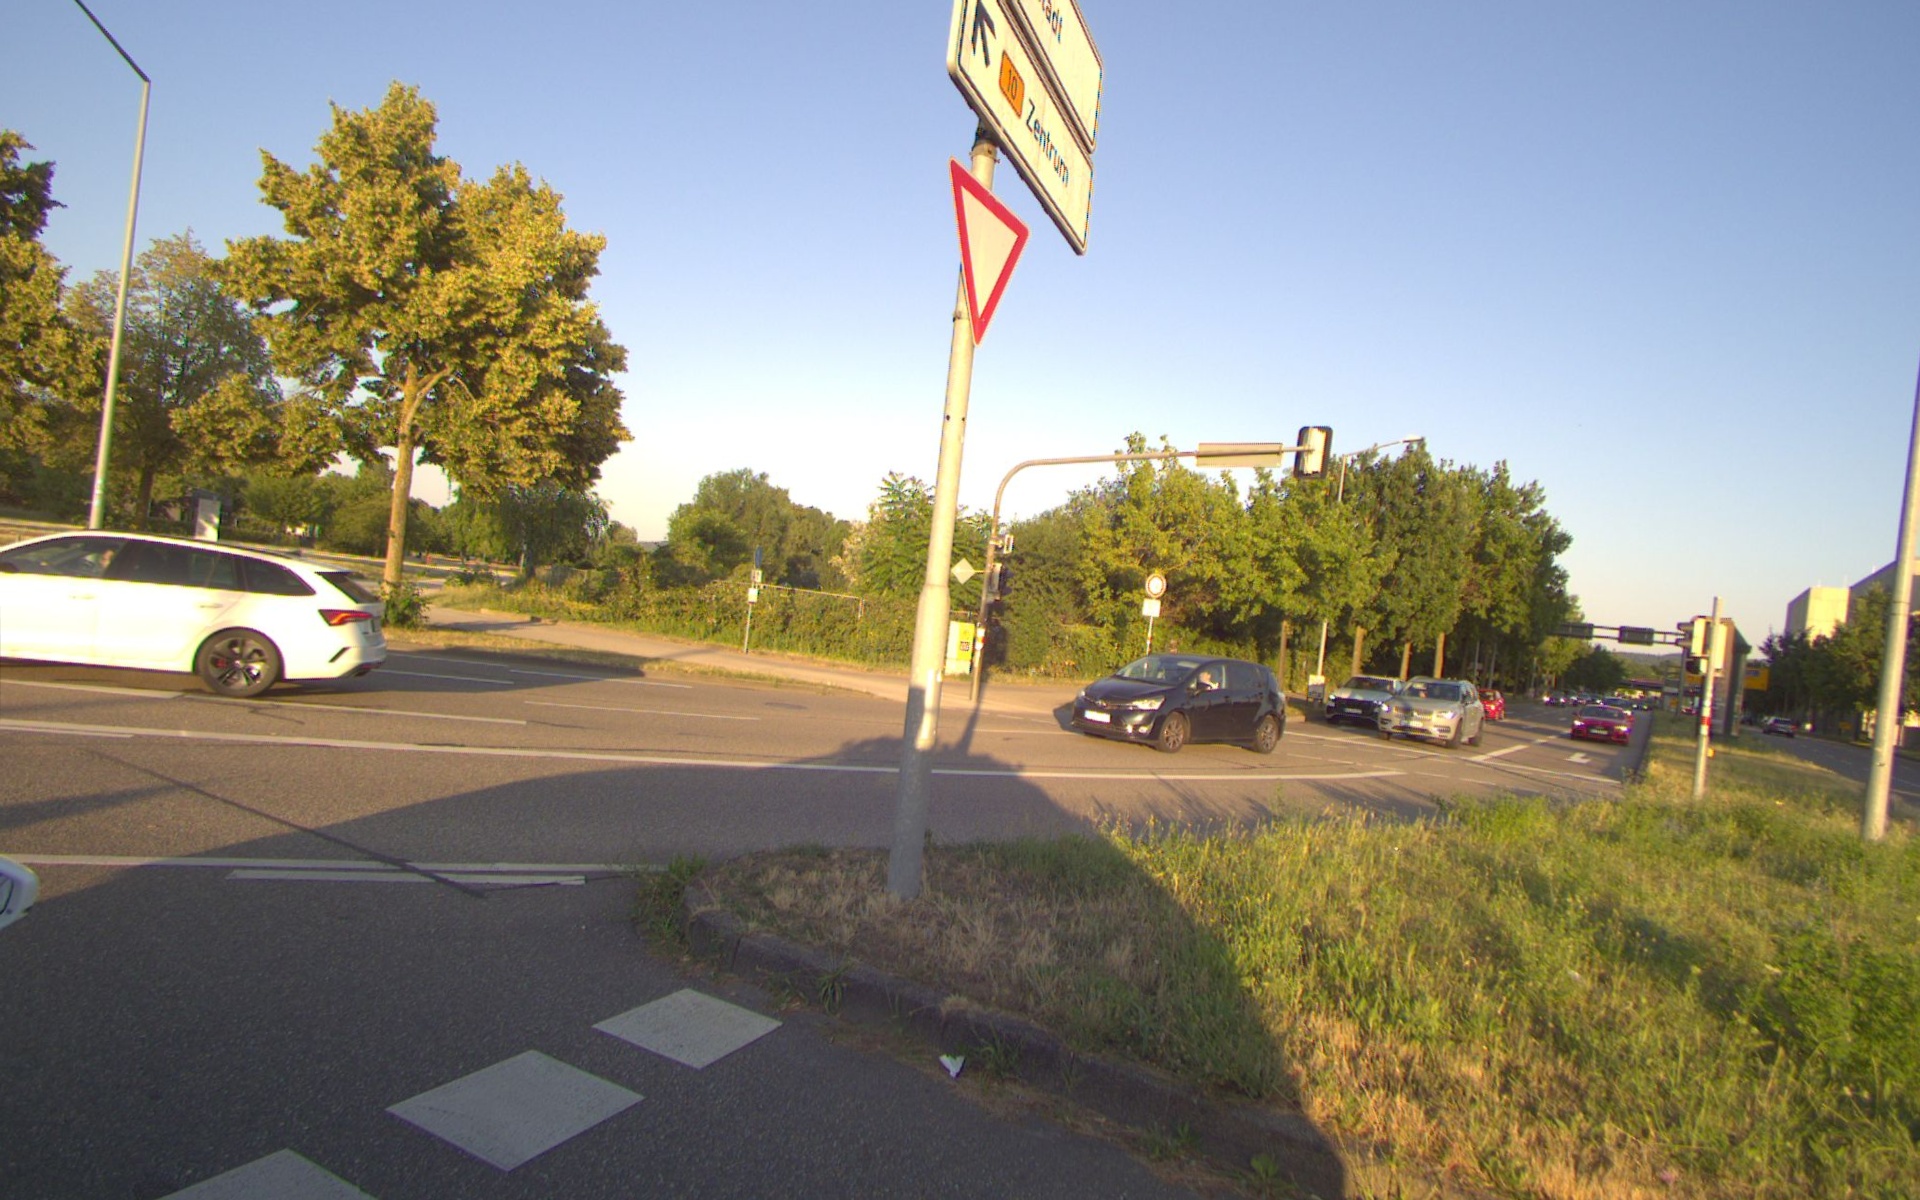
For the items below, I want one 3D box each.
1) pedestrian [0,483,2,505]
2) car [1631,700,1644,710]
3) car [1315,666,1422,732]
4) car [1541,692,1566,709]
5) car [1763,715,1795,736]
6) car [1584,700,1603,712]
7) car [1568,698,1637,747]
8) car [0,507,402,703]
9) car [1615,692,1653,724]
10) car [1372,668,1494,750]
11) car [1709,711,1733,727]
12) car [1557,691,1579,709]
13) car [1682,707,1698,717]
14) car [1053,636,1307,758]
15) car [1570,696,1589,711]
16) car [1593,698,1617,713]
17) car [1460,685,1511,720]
[{"bbox_3d":[-45.118,-4.664,46.716,0.520,1.646,0.620,7,0,2],"label":"pedestrian"},{"bbox_3d":[112.154,17.378,166.589,1.594,1.471,3.706,5,-2,35],"label":"car"},{"bbox_3d":[13.224,3.212,32.395,1.884,1.730,4.927,7,-1,36],"label":"car"},{"bbox_3d":[53.979,9.155,91.520,1.594,1.324,3.707,5,-2,35],"label":"car"},{"bbox_3d":[65.921,10.091,80.957,1.727,1.441,4.114,7,0,42],"label":"car"},{"bbox_3d":[84.068,14.010,133.456,1.847,1.324,4.128,5,-2,35],"label":"car"},{"bbox_3d":[24.728,4.690,38.630,1.817,1.477,4.568,7,-1,36],"label":"car"},{"bbox_3d":[-8.234,-0.007,9.941,4.491,1.466,1.717,8,0,-24],"label":"car"},{"bbox_3d":[40.837,6.555,60.945,1.695,1.631,4.127,5,-2,34],"label":"car"},{"bbox_3d":[12.688,2.908,26.800,1.893,1.775,4.907,6,-2,36],"label":"car"},{"bbox_3d":[89.324,13.928,118.126,1.789,1.543,4.123,7,0,34],"label":"car"},{"bbox_3d":[62.282,10.251,102.989,1.594,1.536,3.706,5,-2,35],"label":"car"},{"bbox_3d":[131.338,20.143,181.076,1.967,1.488,3.991,7,0,33],"label":"car"},{"bbox_3d":[3.843,1.702,17.180,4.423,1.652,1.784,8,-2,-40],"label":"car"},{"bbox_3d":[72.274,12.050,117.404,1.594,1.536,3.706,5,-2,35],"label":"car"},{"bbox_3d":[65.711,10.753,102.469,1.847,1.324,4.128,5,-2,35],"label":"car"},{"bbox_3d":[26.525,5.203,50.765,1.700,1.500,3.623,5,-2,36],"label":"car"}]
